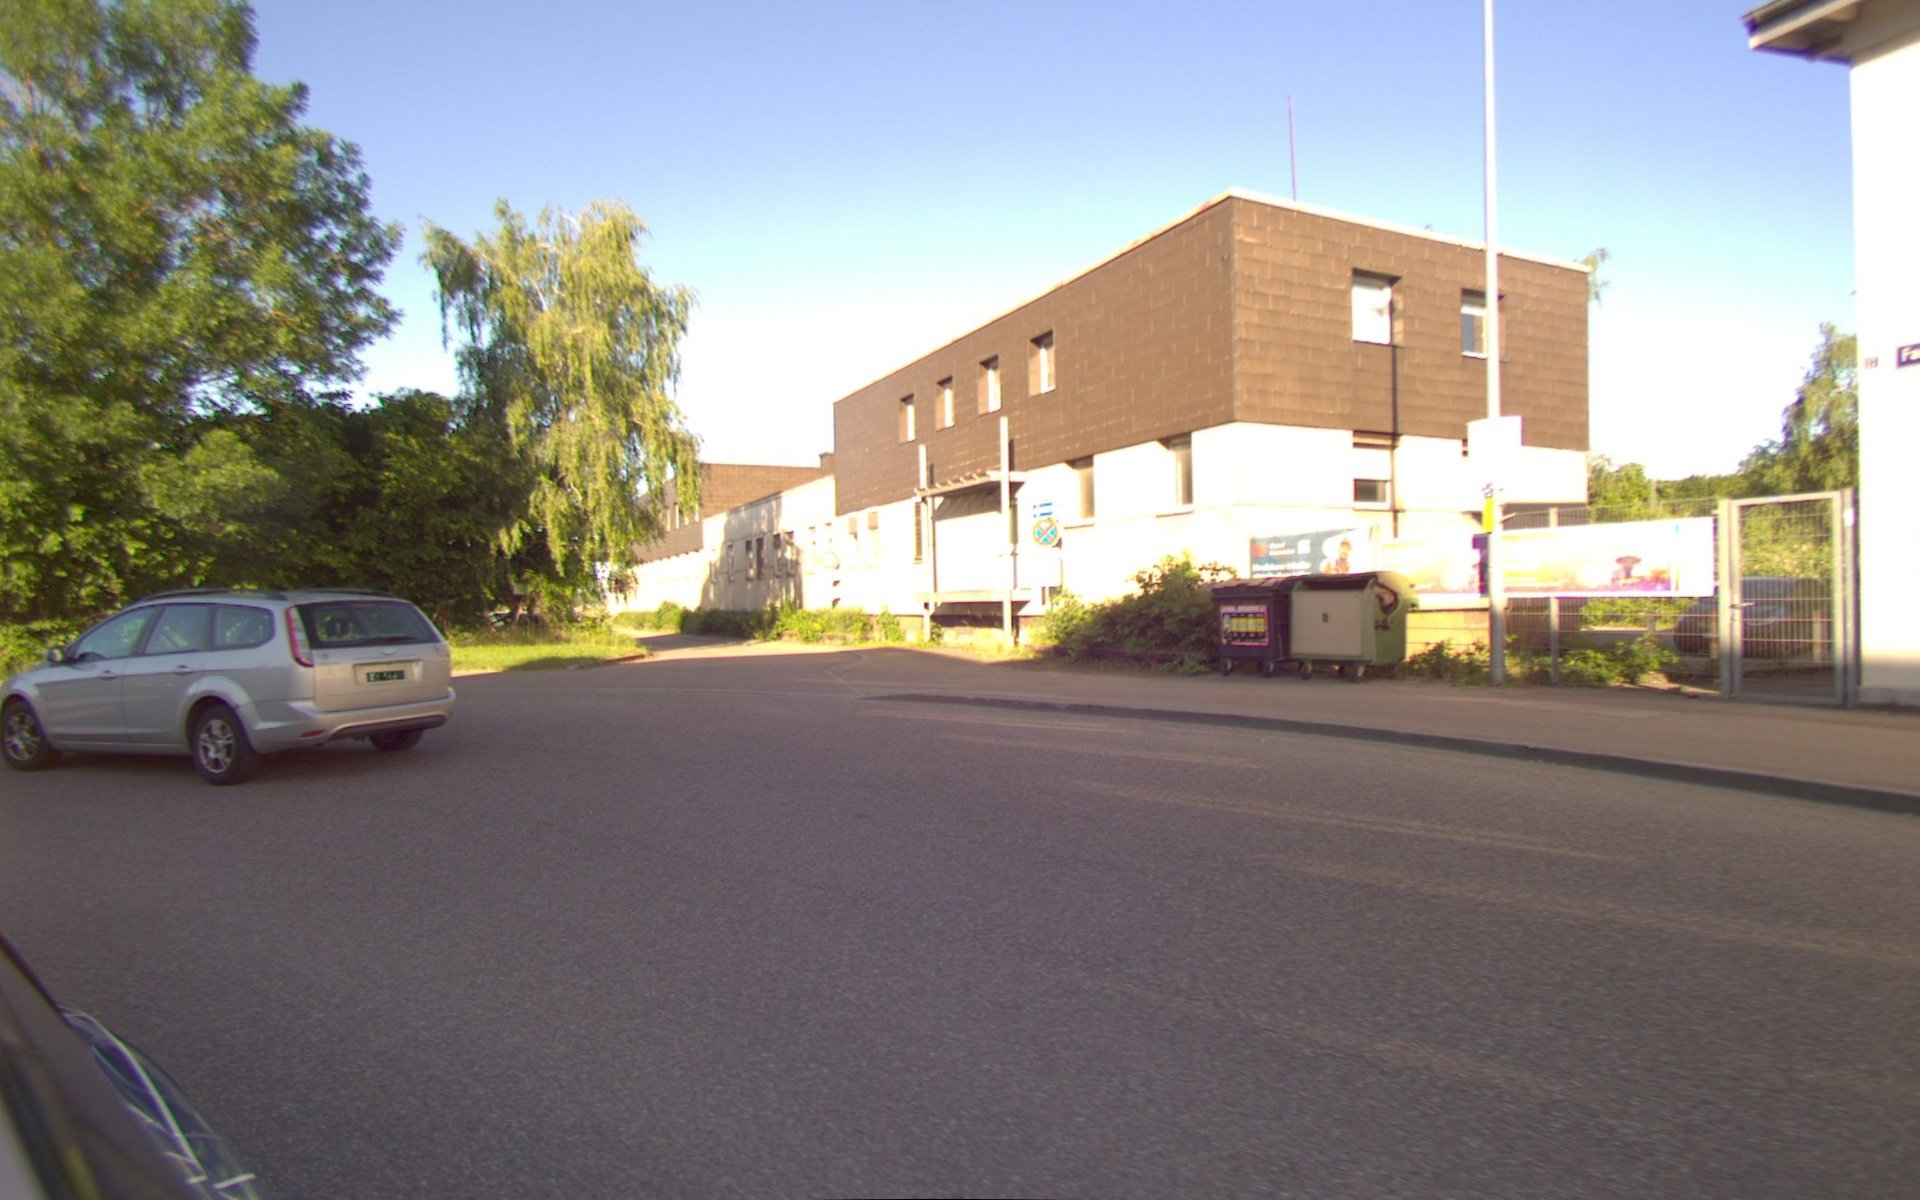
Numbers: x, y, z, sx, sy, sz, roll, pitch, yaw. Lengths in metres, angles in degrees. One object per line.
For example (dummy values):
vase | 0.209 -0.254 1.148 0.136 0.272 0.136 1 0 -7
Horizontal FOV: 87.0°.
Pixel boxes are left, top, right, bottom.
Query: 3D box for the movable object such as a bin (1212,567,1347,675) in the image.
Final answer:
movable object such as a bin | 4.657 0.281 14.807 1.342 1.482 1.293 -1 0 -32

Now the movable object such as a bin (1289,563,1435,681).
movable object such as a bin | 5.397 0.266 13.631 1.182 1.482 1.377 -1 0 -32

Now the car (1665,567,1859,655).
car | 16.419 0.174 20.685 3.933 1.630 2.005 -1 0 -34

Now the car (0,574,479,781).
car | -6.684 0.603 8.993 4.468 1.516 1.733 -1 0 21
